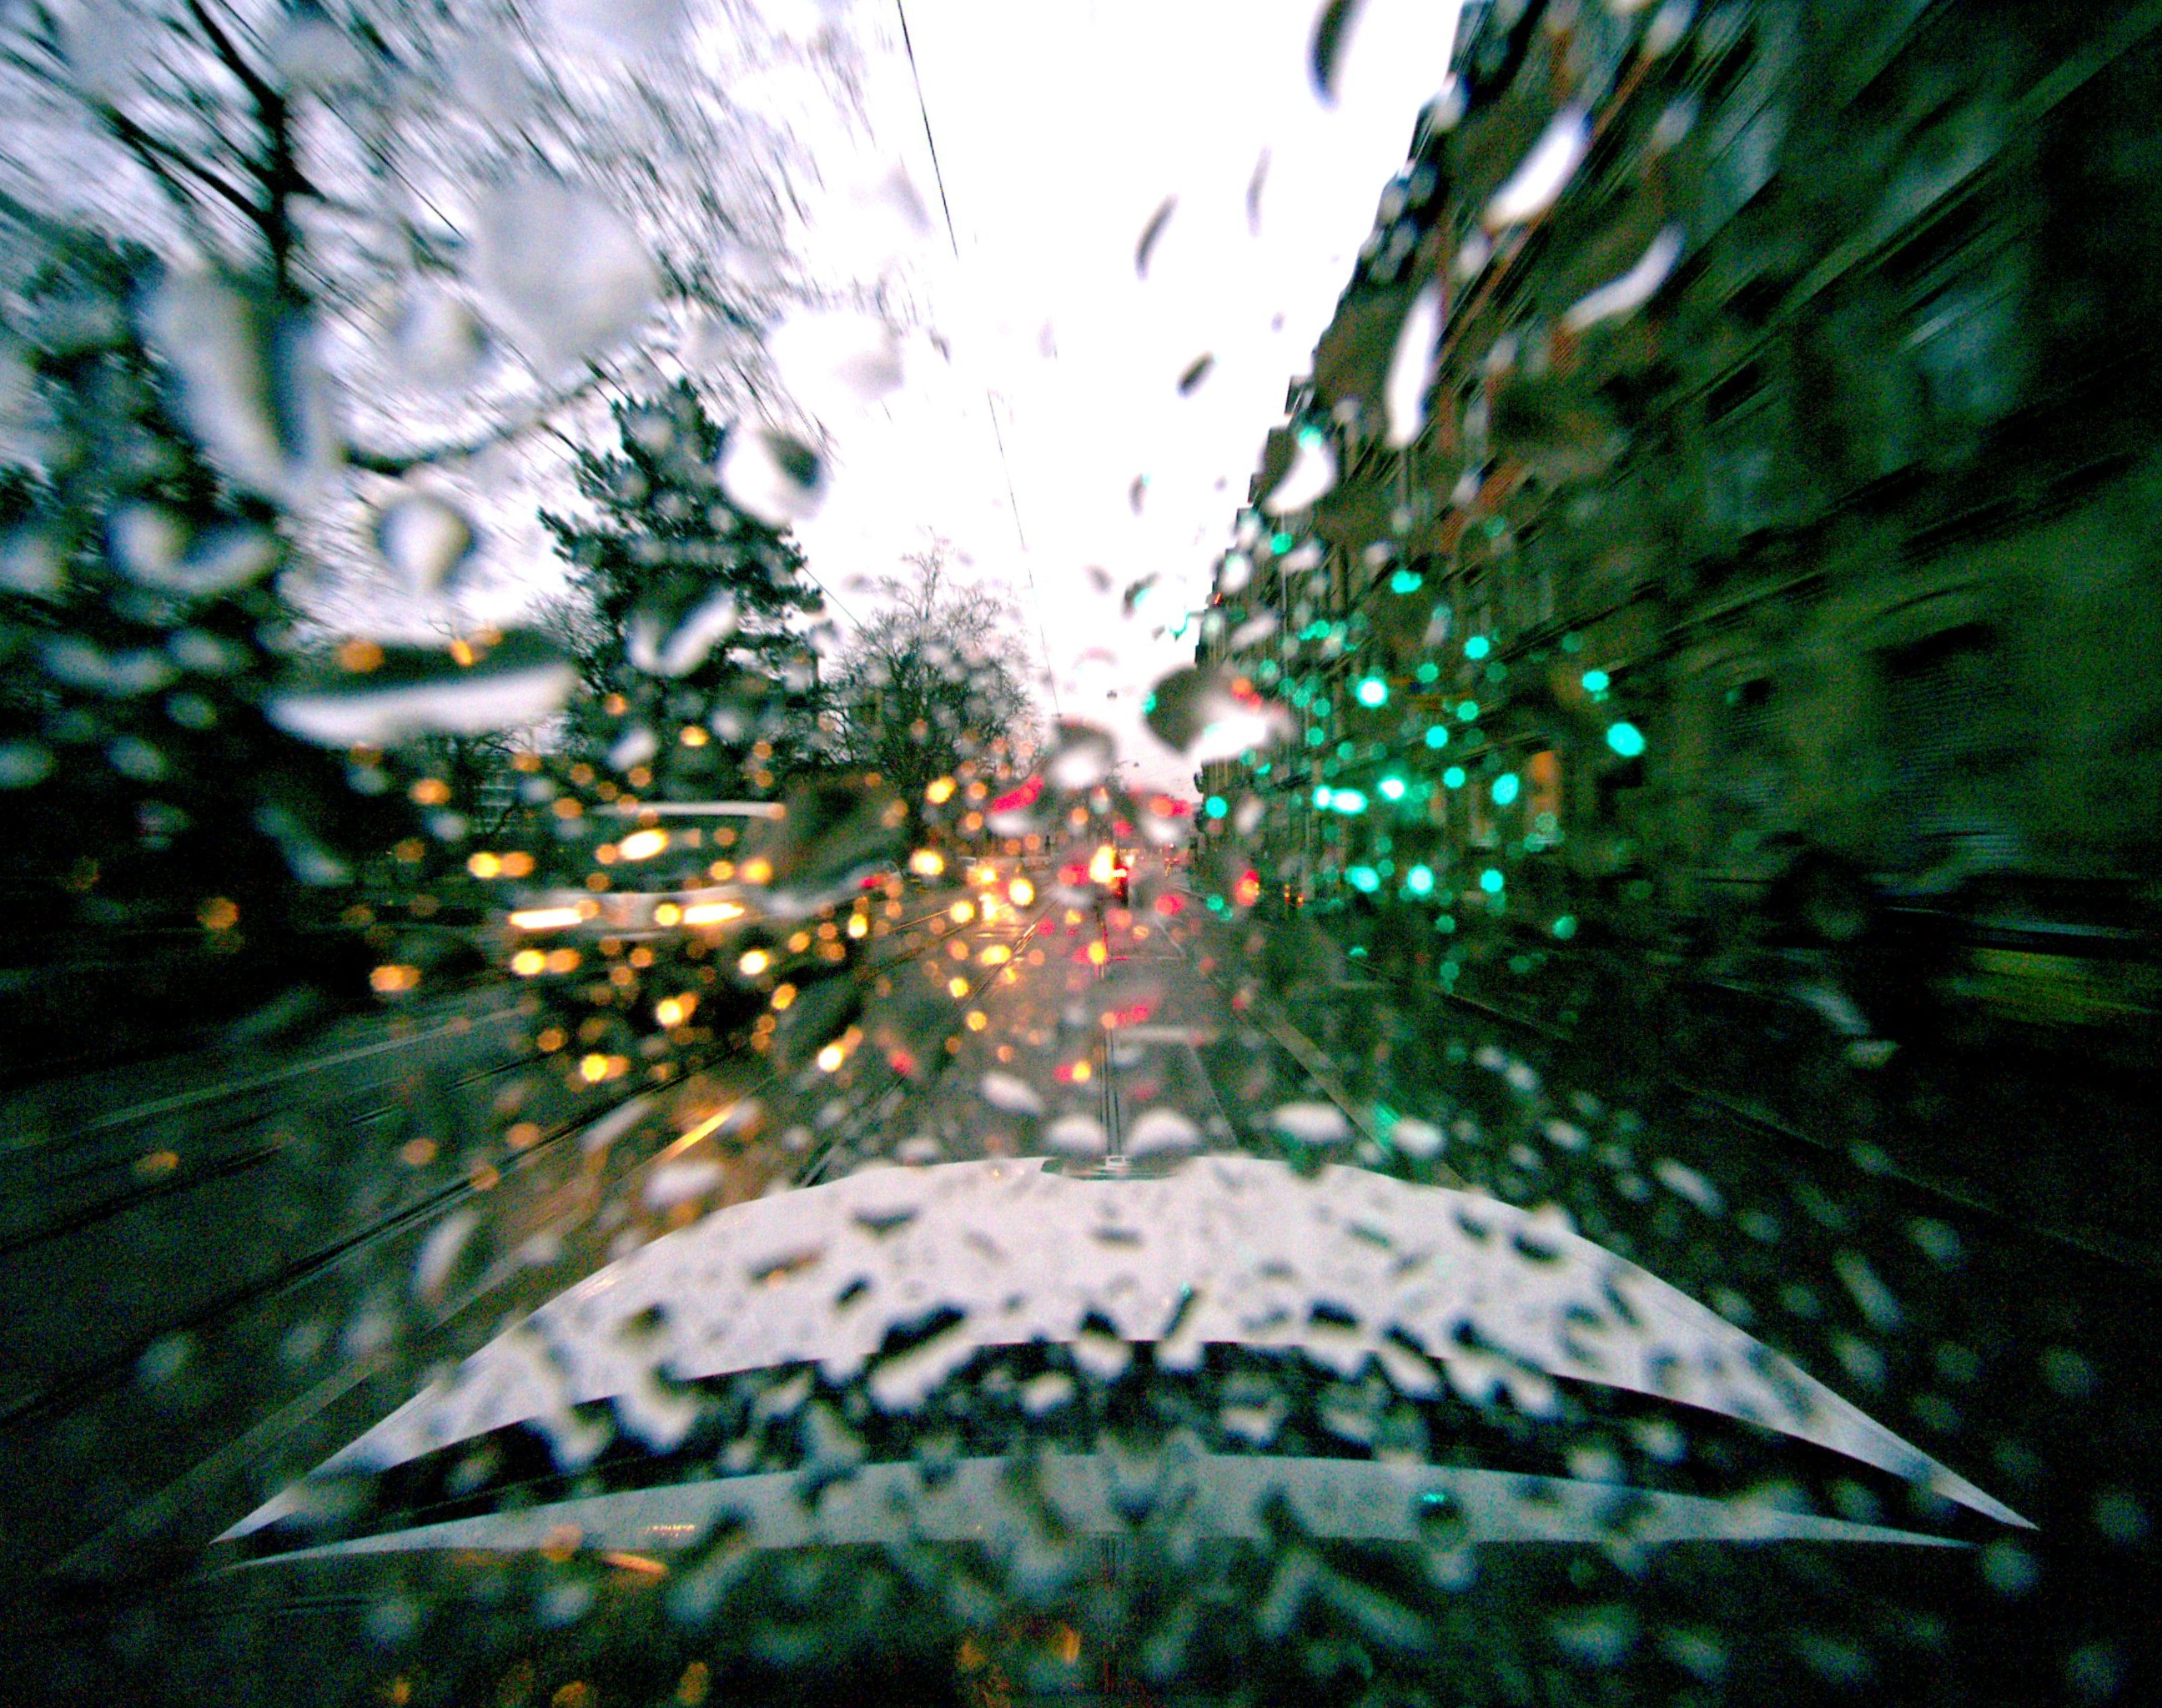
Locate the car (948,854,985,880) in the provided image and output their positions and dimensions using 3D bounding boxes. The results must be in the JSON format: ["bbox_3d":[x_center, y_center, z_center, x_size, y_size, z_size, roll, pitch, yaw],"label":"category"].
[{"bbox_3d":[-7.387,0.844,52.772,1.979,1.615,4.424,0,-1,-3],"label":"car"}]

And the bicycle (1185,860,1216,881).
[{"bbox_3d":[6.509,0.889,44.431,0.795,1.144,2.229,0,-1,-18],"label":"bicycle"}]

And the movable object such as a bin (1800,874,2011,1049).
[{"bbox_3d":[6.201,0.772,6.177,0.762,1.210,0.819,-1,0,1],"label":"movable object such as a bin"}]

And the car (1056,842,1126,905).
[{"bbox_3d":[0.390,0.592,25.933,1.985,1.842,4.004,0,0,4],"label":"car"}]

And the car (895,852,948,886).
[{"bbox_3d":[-7.947,0.751,41.005,1.979,1.615,4.424,0,-1,-3],"label":"car"}]

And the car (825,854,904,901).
[{"bbox_3d":[-8.062,0.852,30.702,1.979,1.615,4.424,0,-1,-3],"label":"car"}]

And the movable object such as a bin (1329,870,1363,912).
[{"bbox_3d":[6.671,0.924,20.538,0.638,1.055,0.744,0,-1,1],"label":"movable object such as a bin"}]

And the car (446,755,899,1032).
[{"bbox_3d":[-4.203,0.376,9.978,2.437,2.347,5.846,-1,-1,2],"label":"car"}]

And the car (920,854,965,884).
[{"bbox_3d":[-7.760,0.835,46.064,1.979,1.615,4.424,0,-1,-3],"label":"car"}]

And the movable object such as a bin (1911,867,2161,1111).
[{"bbox_3d":[6.220,0.740,5.024,0.886,1.288,1.260,-1,0,-6],"label":"movable object such as a bin"}]

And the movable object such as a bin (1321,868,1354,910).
[{"bbox_3d":[6.696,0.909,21.302,0.638,1.055,0.744,0,-1,1],"label":"movable object such as a bin"}]

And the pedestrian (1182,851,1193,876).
[{"bbox_3d":[7.822,0.700,59.811,0.769,1.775,0.685,0,-1,1],"label":"pedestrian"}]

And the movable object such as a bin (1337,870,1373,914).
[{"bbox_3d":[6.654,0.914,19.769,0.638,1.055,0.744,0,-1,1],"label":"movable object such as a bin"}]

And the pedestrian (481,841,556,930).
[{"bbox_3d":[-11.783,0.640,17.094,0.816,1.815,1.010,0,-1,4],"label":"pedestrian"}]

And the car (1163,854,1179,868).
[{"bbox_3d":[11.760,0.908,106.560,1.985,1.842,4.004,0,0,4],"label":"car"}]

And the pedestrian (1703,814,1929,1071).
[{"bbox_3d":[5.265,0.588,5.921,0.829,1.701,0.955,0,-1,9],"label":"pedestrian"}]

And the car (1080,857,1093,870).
[{"bbox_3d":[0.904,1.503,132.365,1.986,2.014,4.001,0,-1,1],"label":"car"}]

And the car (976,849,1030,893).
[{"bbox_3d":[-3.669,0.795,38.909,1.985,2.014,4.003,0,-1,3],"label":"car"}]

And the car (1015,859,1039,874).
[{"bbox_3d":[-5.892,1.364,89.786,1.974,1.615,4.435,0,-1,5],"label":"car"}]

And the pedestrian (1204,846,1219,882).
[{"bbox_3d":[7.150,0.567,44.635,0.713,1.953,0.657,0,-1,1],"label":"pedestrian"}]
